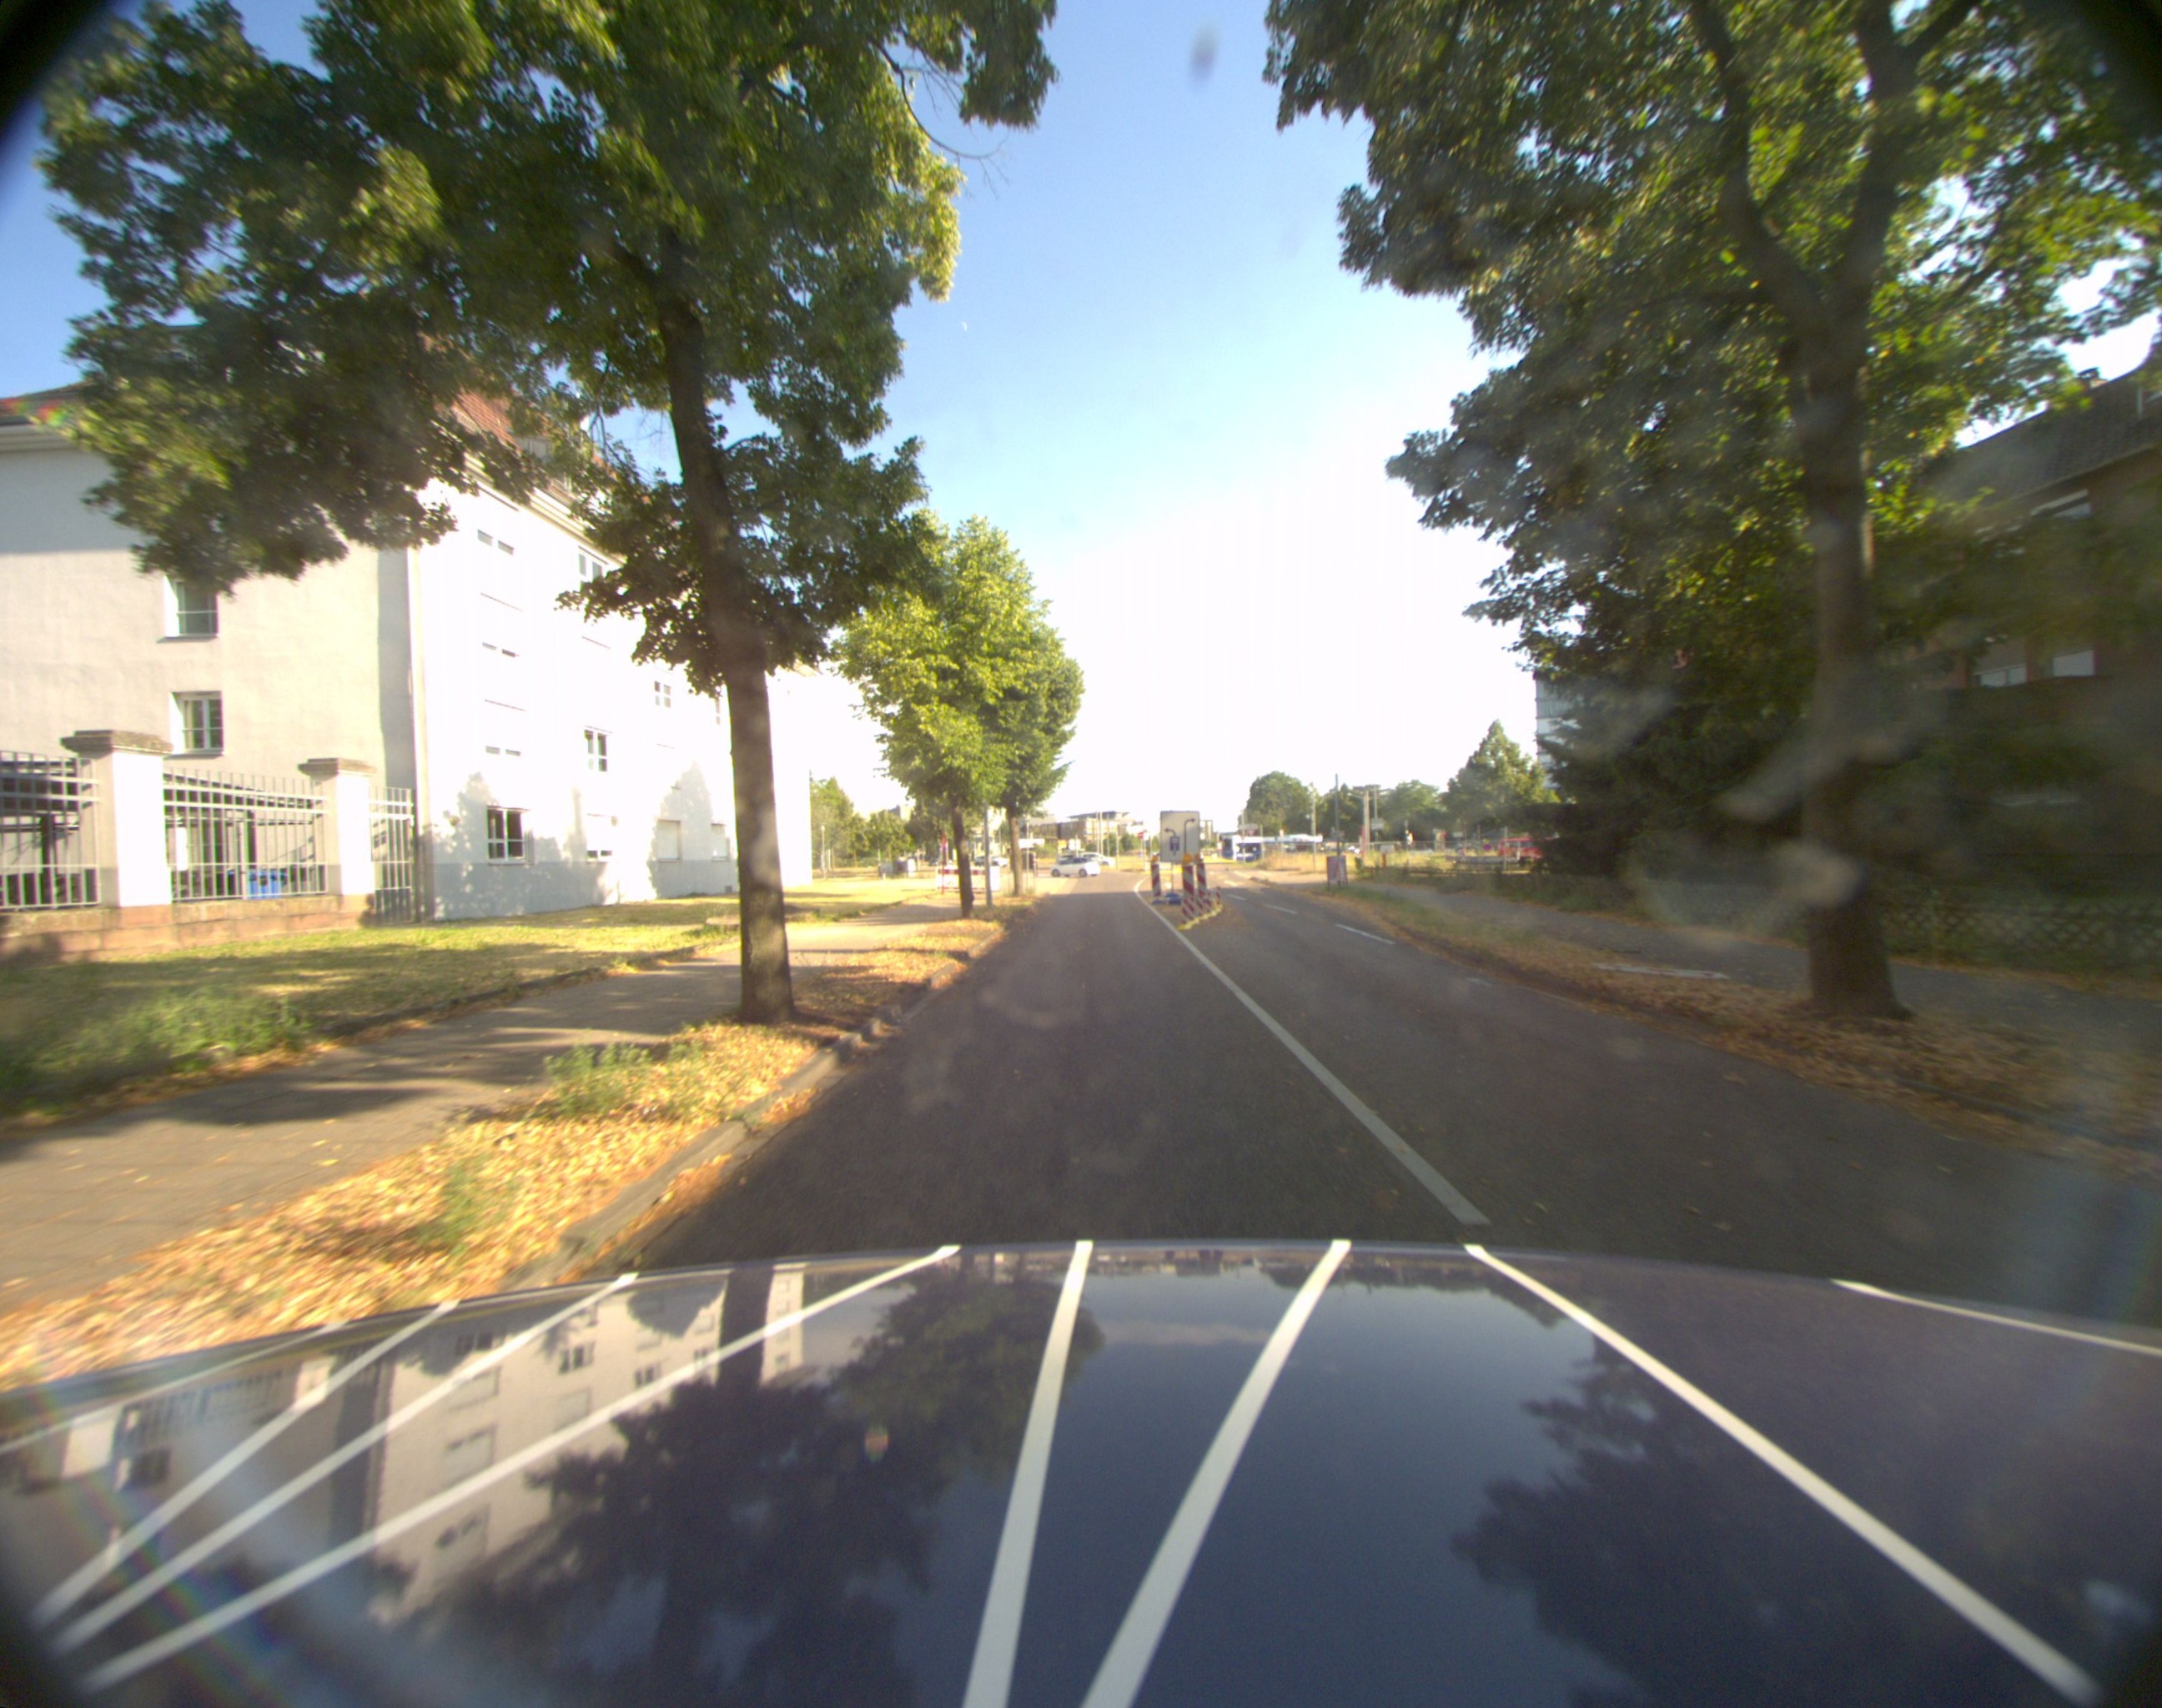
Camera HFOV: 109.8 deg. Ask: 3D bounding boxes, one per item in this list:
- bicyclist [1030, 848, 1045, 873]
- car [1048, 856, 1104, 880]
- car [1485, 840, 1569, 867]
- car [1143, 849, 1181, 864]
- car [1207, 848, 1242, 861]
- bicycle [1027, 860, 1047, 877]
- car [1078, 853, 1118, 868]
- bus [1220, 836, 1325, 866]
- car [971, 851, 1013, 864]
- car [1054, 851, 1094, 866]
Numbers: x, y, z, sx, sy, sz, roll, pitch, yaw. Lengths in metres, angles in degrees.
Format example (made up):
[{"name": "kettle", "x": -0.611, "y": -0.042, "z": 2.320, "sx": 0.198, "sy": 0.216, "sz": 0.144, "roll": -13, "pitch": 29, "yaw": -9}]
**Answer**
[{"name": "bicyclist", "x": -3.188, "y": 0.497, "z": 55.505, "sx": 0.726, "sy": 1.790, "sz": 0.940, "roll": -1, "pitch": 1, "yaw": 22}, {"name": "car", "x": -0.373, "y": 1.013, "z": 55.978, "sx": 3.616, "sy": 1.412, "sz": 1.768, "roll": -6, "pitch": -2, "yaw": 32}, {"name": "car", "x": 34.012, "y": -0.020, "z": 57.973, "sx": 5.298, "sy": 2.002, "sz": 2.004, "roll": -1, "pitch": 0, "yaw": 38}, {"name": "car", "x": 8.969, "y": 0.278, "z": 84.409, "sx": 3.998, "sy": 1.477, "sz": 1.843, "roll": -1, "pitch": 0, "yaw": -2}, {"name": "car", "x": 17.586, "y": 0.089, "z": 93.216, "sx": 4.006, "sy": 1.521, "sz": 1.774, "roll": -1, "pitch": 0, "yaw": -29}, {"name": "bicycle", "x": -3.202, "y": 1.041, "z": 55.449, "sx": 0.639, "sy": 1.116, "sz": 2.128, "roll": -1, "pitch": 1, "yaw": 21}, {"name": "car", "x": 1.869, "y": 0.659, "z": 83.235, "sx": 4.040, "sy": 1.542, "sz": 1.915, "roll": -1, "pitch": 0, "yaw": 17}, {"name": "bus", "x": 22.097, "y": -0.371, "z": 87.306, "sx": 12.188, "sy": 3.044, "sz": 2.662, "roll": -2, "pitch": 1, "yaw": -19}, {"name": "car", "x": -10.780, "y": 0.416, "z": 91.967, "sx": 4.578, "sy": 1.376, "sz": 2.098, "roll": -1, "pitch": 1, "yaw": 27}, {"name": "car", "x": -0.808, "y": 0.505, "z": 87.017, "sx": 4.261, "sy": 1.521, "sz": 2.001, "roll": -1, "pitch": 0, "yaw": 8}]
